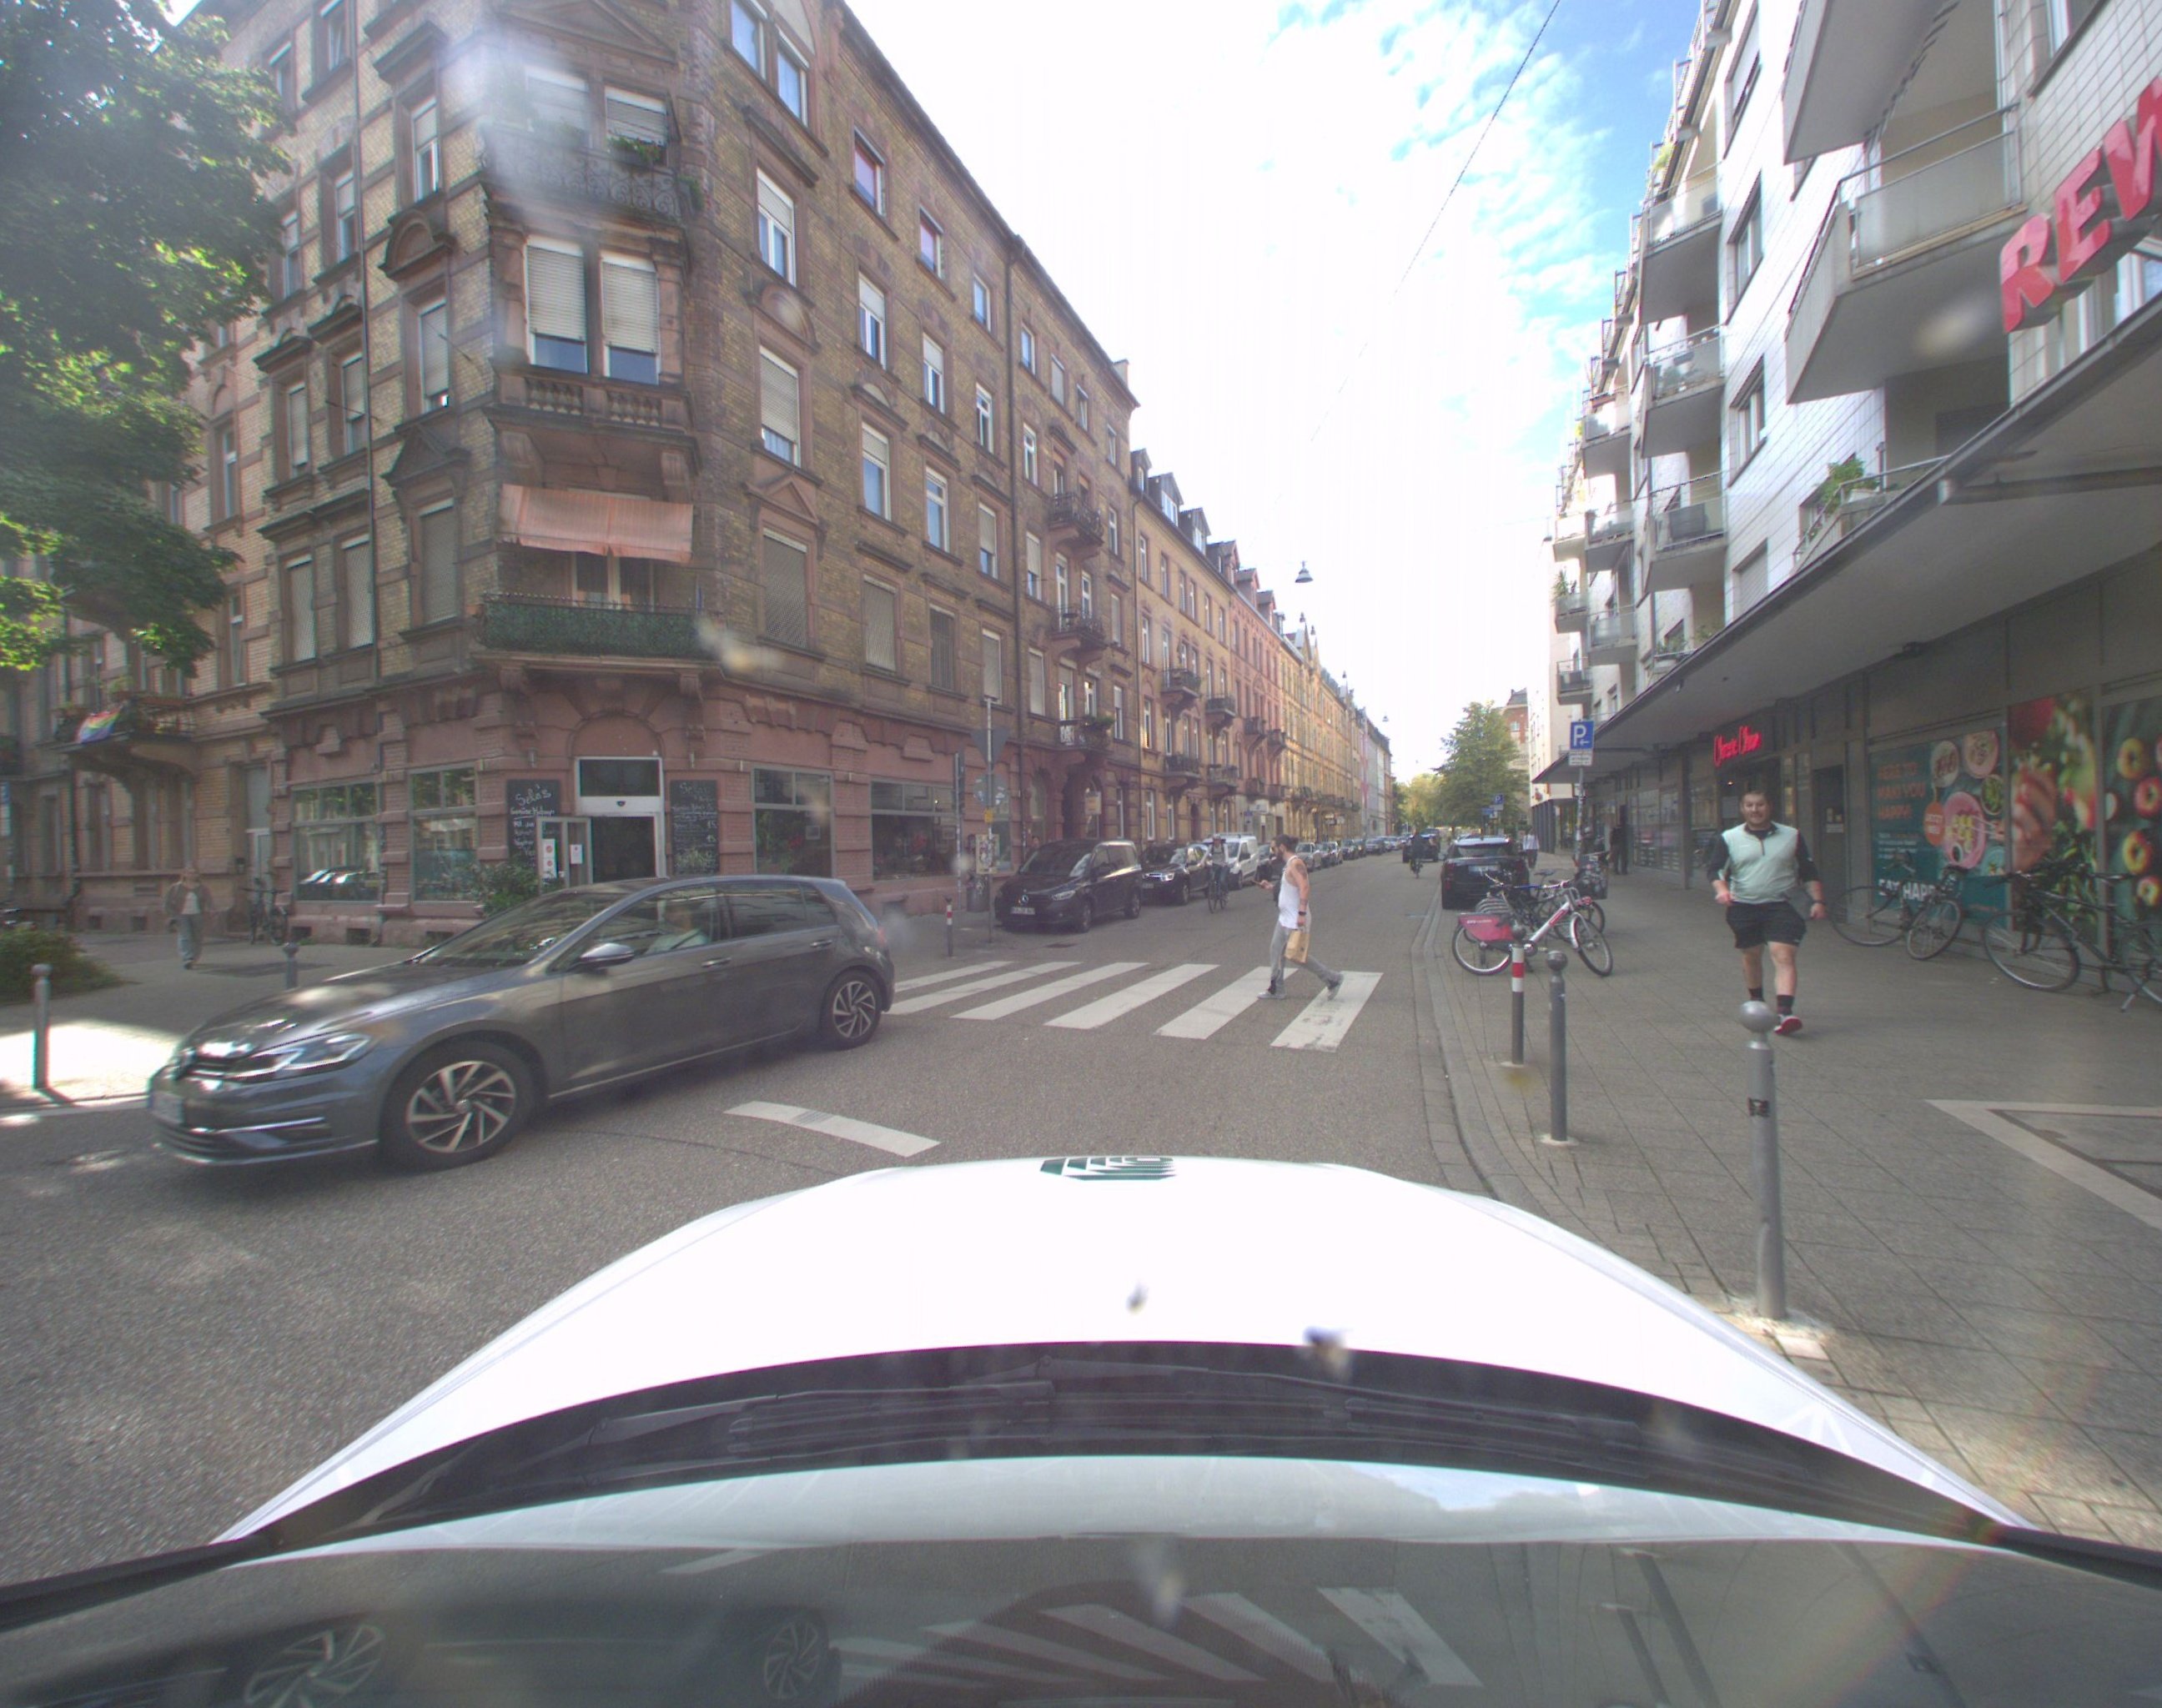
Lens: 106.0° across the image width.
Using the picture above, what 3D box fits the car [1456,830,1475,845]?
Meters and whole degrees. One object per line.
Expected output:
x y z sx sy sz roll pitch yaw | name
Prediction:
44.429 -1.897 94.148 1.912 1.638 4.024 0 2 26 | car

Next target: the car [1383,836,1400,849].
36.306 -1.372 95.208 1.675 1.550 3.889 0 1 25 | car

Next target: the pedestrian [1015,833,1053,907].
-1.197 0.381 20.856 0.671 1.840 0.862 1 2 19 | pedestrian

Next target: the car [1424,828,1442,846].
41.045 -1.986 94.934 1.766 2.019 3.910 0 1 24 | car

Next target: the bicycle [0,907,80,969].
-18.590 1.453 14.277 2.053 0.968 0.594 -2 2 19 | bicycle

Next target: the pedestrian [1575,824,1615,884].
14.062 0.007 22.307 0.816 1.588 0.785 -2 0 27 | pedestrian

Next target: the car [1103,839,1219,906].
2.363 0.449 22.869 1.975 1.638 4.169 -1 1 24 | car

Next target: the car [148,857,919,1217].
-3.189 0.828 5.659 1.774 1.438 4.025 -3 0 30 | car

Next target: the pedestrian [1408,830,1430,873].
13.173 -0.109 31.732 0.711 1.650 0.936 0 1 26 | pedestrian

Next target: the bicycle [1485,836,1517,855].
28.580 -0.582 55.451 0.503 1.159 1.779 -4 0 -39 | bicycle

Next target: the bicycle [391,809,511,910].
-10.029 0.106 12.947 2.138 1.521 0.560 -2 0 25 | bicycle

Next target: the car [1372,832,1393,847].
31.177 -1.532 84.203 1.675 1.550 3.890 1 2 24 | car

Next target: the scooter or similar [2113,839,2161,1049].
6.448 0.528 4.319 0.626 1.213 1.263 -4 0 23 | scooter or similar

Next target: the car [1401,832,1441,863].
20.056 -0.383 47.920 1.947 1.740 4.065 -1 0 26 | car

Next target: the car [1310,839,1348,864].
15.323 -0.190 50.237 1.675 1.386 3.890 0 2 25 | car

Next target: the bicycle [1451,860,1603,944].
6.377 0.688 11.731 1.774 1.070 0.589 -4 0 15 | bicycle

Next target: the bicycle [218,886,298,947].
-15.725 1.173 15.554 1.761 1.067 0.531 -1 0 26 | bicycle

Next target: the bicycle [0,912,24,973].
-18.508 1.476 13.462 2.053 0.968 0.594 -2 2 19 | bicycle

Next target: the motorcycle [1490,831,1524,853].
31.660 -0.885 60.559 2.129 1.530 0.690 -4 0 30 | motorcycle

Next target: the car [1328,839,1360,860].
18.749 -0.328 58.020 1.675 1.386 3.890 0 2 25 | car

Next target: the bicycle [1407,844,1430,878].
13.147 0.250 31.666 0.711 1.274 1.895 0 1 26 | bicycle

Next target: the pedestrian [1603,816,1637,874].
17.383 -0.289 26.280 0.647 1.860 0.702 -2 0 -36 | pedestrian

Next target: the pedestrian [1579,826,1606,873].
17.755 -0.171 28.298 0.638 1.588 0.785 -4 -1 27 | pedestrian

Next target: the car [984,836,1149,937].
-0.144 0.541 17.213 1.744 1.773 4.431 1 2 24 | car

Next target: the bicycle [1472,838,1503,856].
26.911 -0.452 53.922 1.749 1.099 0.414 -4 0 28 | bicycle

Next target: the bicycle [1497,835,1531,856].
26.278 -0.527 49.432 1.749 1.162 0.654 -4 0 27 | bicycle

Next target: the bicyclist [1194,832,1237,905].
3.225 0.328 19.469 0.694 1.677 1.118 -2 0 22 | bicyclist

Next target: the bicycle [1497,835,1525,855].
26.981 -0.538 51.136 1.481 1.146 0.414 -4 0 25 | bicycle

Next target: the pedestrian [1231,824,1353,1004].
2.123 0.569 8.144 1.010 1.671 0.809 -2 0 24 | pedestrian

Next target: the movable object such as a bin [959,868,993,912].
-1.802 0.616 13.965 0.379 0.714 0.478 0 1 21 | movable object such as a bin

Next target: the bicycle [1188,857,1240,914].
3.192 0.714 19.340 0.694 1.220 2.128 -2 0 22 | bicycle

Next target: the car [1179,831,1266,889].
5.076 0.149 28.732 1.902 1.871 4.463 -1 1 24 | car

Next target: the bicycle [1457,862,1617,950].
6.178 0.705 11.129 1.774 1.070 0.571 -4 0 15 | bicycle

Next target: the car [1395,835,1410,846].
43.113 -1.816 109.118 1.675 1.550 3.889 0 1 25 | car

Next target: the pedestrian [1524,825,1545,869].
18.232 -0.305 32.745 0.606 1.726 1.133 -2 1 26 | pedestrian

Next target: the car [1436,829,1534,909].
9.427 0.279 19.092 1.776 1.605 3.947 -4 0 26 | car

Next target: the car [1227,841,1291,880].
7.360 0.219 33.390 1.726 1.483 4.006 0 1 25 | car

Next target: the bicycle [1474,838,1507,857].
25.309 -0.405 50.342 1.750 1.057 0.413 -4 0 20 | bicycle

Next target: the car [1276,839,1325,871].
11.290 0.032 41.681 1.726 1.483 4.007 0 2 25 | car

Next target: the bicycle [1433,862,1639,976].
4.997 0.724 9.126 1.866 1.125 0.913 -4 0 23 | bicycle

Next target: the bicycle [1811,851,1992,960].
8.873 0.521 8.915 0.735 1.015 1.793 -4 0 24 | bicycle

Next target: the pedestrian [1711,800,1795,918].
10.498 0.069 12.753 0.707 1.747 0.822 -4 0 23 | pedestrian

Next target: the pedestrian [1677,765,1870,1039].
5.124 0.331 6.120 0.875 1.834 1.054 -4 -1 33 | pedestrian

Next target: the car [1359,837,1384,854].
25.970 -0.768 72.829 1.675 1.369 3.890 3 3 25 | car

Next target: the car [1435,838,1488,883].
13.778 0.200 29.398 1.581 1.439 4.054 -2 1 26 | car

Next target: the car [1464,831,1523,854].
31.859 -0.897 63.019 3.732 1.546 1.738 -4 -1 15 | car

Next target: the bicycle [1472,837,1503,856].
27.658 -0.500 55.436 1.777 1.159 0.503 -4 0 28 | bicycle

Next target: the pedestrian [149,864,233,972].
-13.873 0.974 12.700 0.799 1.577 0.619 0 4 30 | pedestrian

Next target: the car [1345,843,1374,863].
21.776 -0.135 63.581 1.675 1.437 3.890 0 2 25 | car

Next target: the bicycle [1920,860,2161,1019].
7.669 0.580 6.287 0.672 1.043 1.737 -2 -1 6 | bicycle

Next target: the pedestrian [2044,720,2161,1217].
4.119 0.388 2.581 0.843 1.747 1.053 -4 0 14 | pedestrian

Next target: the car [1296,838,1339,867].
13.466 -0.116 46.205 1.726 1.483 4.007 0 2 25 | car
